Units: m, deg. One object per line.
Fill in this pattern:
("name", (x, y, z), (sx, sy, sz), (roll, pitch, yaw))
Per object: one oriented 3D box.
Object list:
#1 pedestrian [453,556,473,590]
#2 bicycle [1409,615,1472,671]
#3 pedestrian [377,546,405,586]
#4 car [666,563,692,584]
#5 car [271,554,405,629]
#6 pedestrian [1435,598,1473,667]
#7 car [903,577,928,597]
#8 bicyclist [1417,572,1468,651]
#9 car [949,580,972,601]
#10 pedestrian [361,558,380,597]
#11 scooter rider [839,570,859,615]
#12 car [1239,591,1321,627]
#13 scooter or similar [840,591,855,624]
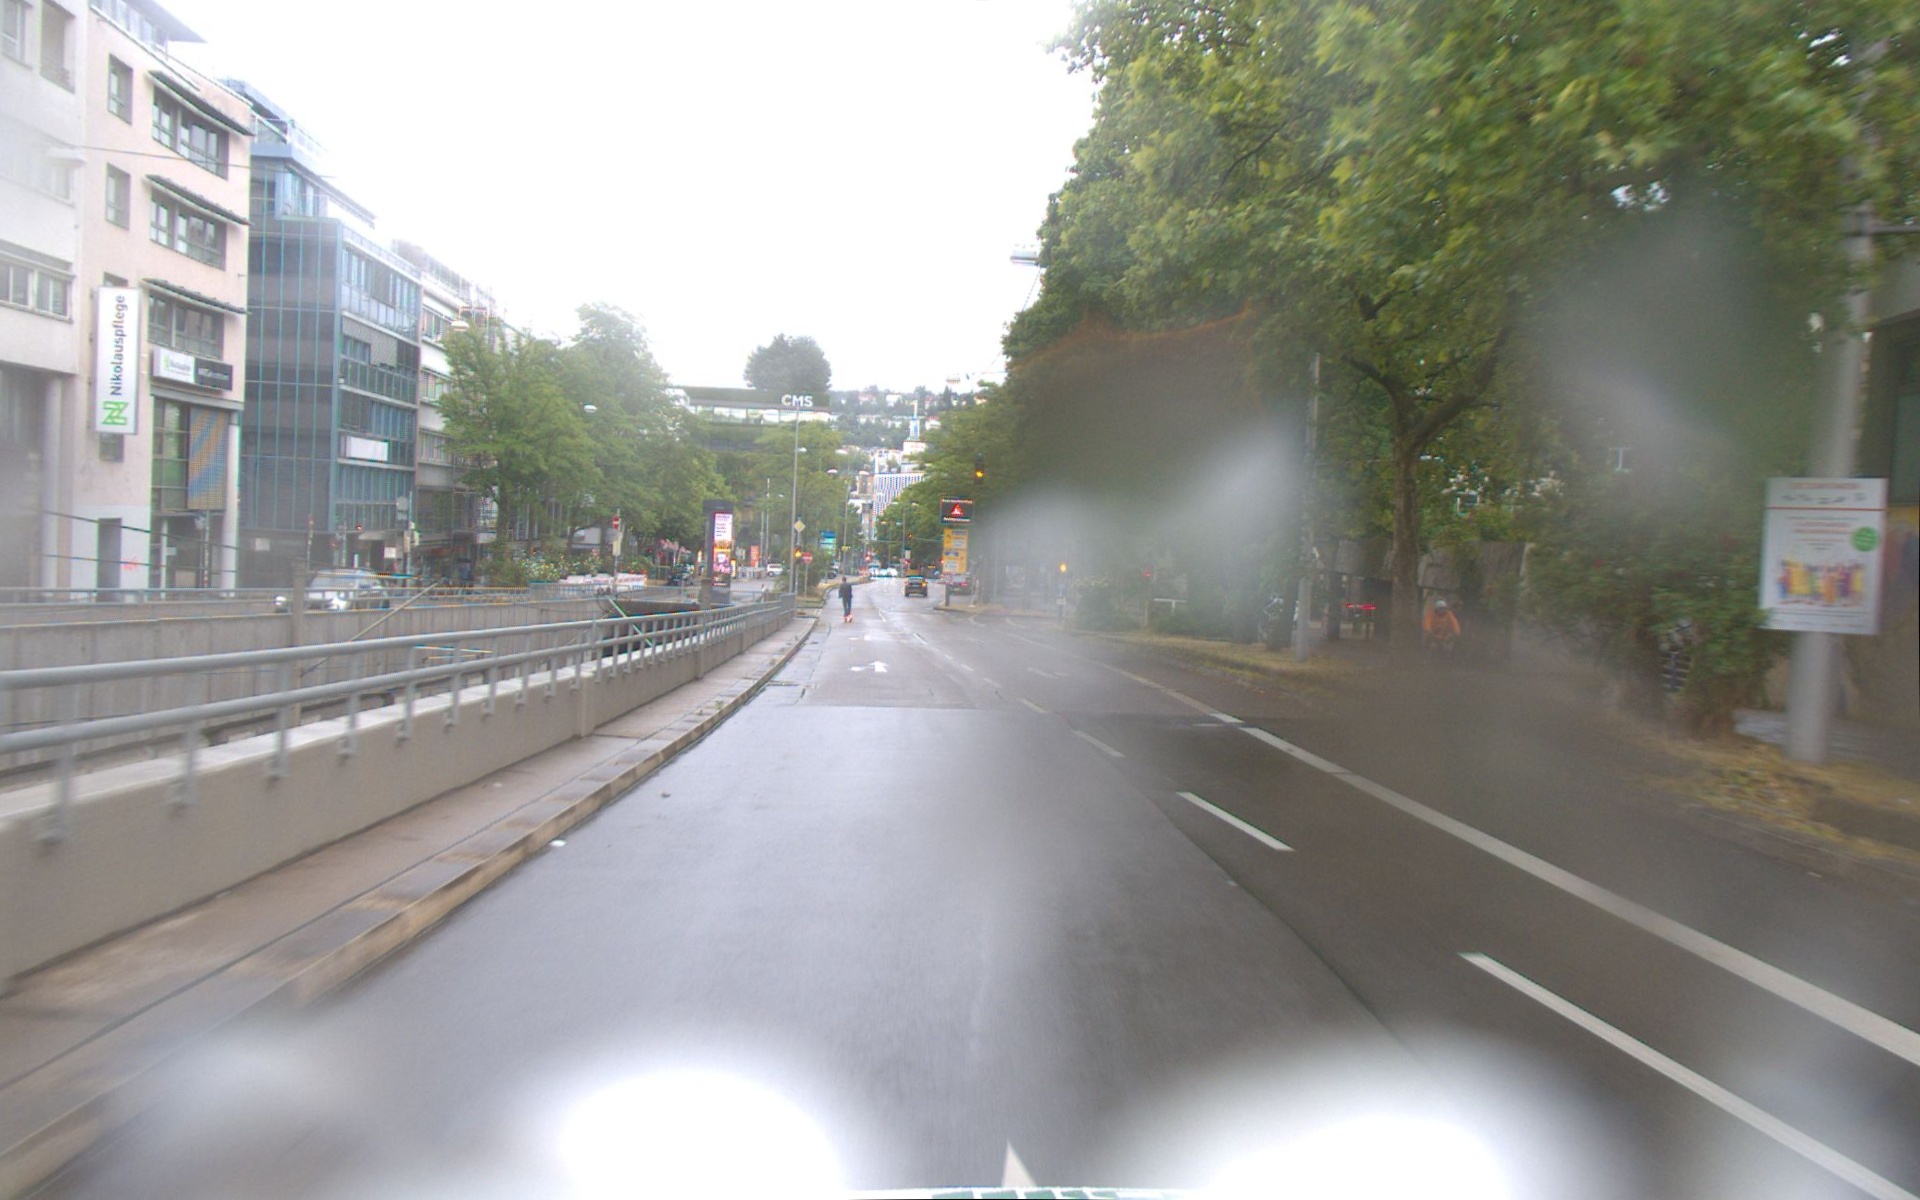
("pedestrian", (-28.540, -1.538, 94.912), (0.860, 1.900, 0.865), (3, 0, -7))
("bicycle", (10.439, 0.917, 35.991), (0.790, 1.131, 2.199), (2, 0, 3))
("pedestrian", (-28.202, -1.694, 81.989), (0.846, 1.901, 0.960), (3, 0, 14))
("car", (-23.959, -2.256, 141.207), (1.746, 1.582, 3.891), (3, 3, -5))
("car", (-15.759, -0.250, 42.152), (1.800, 1.742, 4.575), (2, 1, -2))
("pedestrian", (13.817, 0.889, 46.262), (0.790, 1.897, 1.056), (1, 0, 5))
("car", (-3.582, -1.044, 132.459), (1.712, 1.545, 4.103), (3, 0, -4))
("bicyclist", (10.456, 0.252, 35.881), (0.790, 1.656, 1.047), (2, 0, 3))
("car", (0.061, -0.800, 143.213), (1.862, 1.713, 3.911), (3, 0, 0))
("pedestrian", (-26.751, -1.019, 75.025), (0.651, 1.700, 0.487), (2, 0, -5))
("scooter rider", (-5.019, -0.321, 74.711), (0.793, 1.982, 0.821), (3, 0, -5))
("car", (17.451, 0.498, 90.140), (4.295, 1.713, 1.735), (3, 0, -29))
("scooter or similar", (-5.080, 0.325, 74.603), (0.535, 1.443, 1.953), (3, 0, -5))
